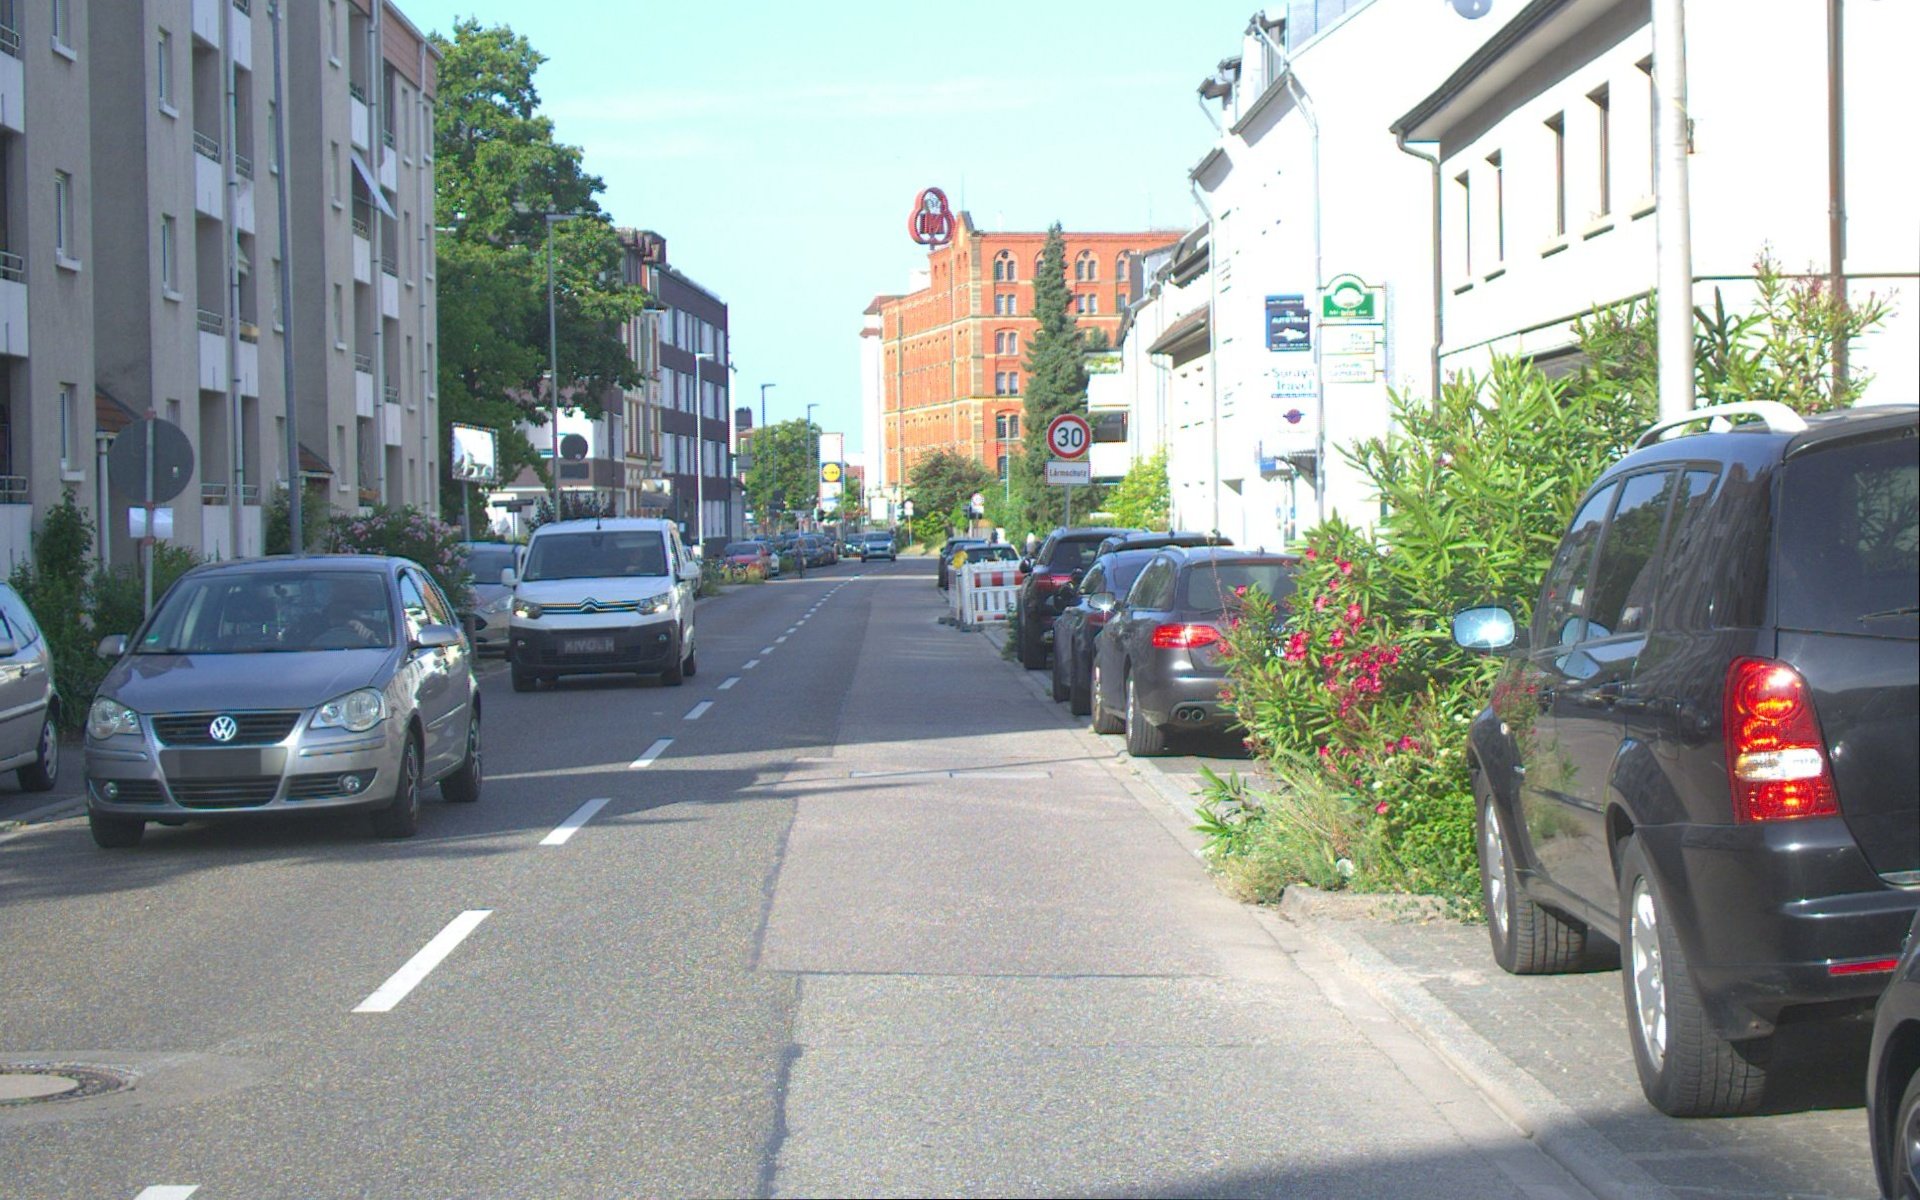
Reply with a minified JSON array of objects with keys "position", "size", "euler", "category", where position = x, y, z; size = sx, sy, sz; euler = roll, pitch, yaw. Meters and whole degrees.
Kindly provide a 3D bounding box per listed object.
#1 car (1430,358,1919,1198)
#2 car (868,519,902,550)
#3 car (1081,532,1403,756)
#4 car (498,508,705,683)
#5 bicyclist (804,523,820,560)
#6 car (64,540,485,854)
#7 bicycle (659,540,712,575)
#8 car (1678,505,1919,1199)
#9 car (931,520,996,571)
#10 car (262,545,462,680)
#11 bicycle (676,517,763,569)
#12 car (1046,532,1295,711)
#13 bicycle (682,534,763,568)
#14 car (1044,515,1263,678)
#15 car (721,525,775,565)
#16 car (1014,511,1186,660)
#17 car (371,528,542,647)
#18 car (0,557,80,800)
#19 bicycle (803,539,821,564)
[{"position":[2.694,0.290,9.909],"size":[2.075,1.849,4.610],"euler":[-2,2,1],"category":"car"},{"position":[-4.069,-3.585,186.705],"size":[1.763,1.610,4.000],"euler":[-1,1,-1],"category":"car"},{"position":[1.928,0.241,24.741],"size":[1.779,1.415,4.497],"euler":[-1,1,-2],"category":"car"},{"position":[-3.833,-0.100,37.397],"size":[1.922,1.761,4.339],"euler":[-1,1,-2],"category":"car"},{"position":[-5.776,-2.299,134.211],"size":[0.591,1.437,0.751],"euler":[-1,1,0],"category":"bicyclist"},{"position":[-3.570,0.435,18.478],"size":[1.617,1.450,3.686],"euler":[-1,2,-2],"category":"car"},{"position":[-8.394,-1.302,105.083],"size":[1.584,1.037,0.708],"euler":[-1,1,-6],"category":"bicycle"},{"position":[2.398,0.588,4.972],"size":[1.589,1.523,4.614],"euler":[-2,1,-1],"category":"car"},{"position":[0.095,-1.679,104.932],"size":[1.859,1.467,4.001],"euler":[1,1,-1],"category":"car"},{"position":[-6.704,0.102,38.902],"size":[1.686,1.401,4.084],"euler":[0,1,-2],"category":"car"},{"position":[-8.420,-2.003,120.320],"size":[2.918,1.771,1.202],"euler":[-1,1,0],"category":"bicycle"},{"position":[1.788,0.132,30.553],"size":[1.830,1.415,4.609],"euler":[-1,1,-1],"category":"car"},{"position":[-8.441,-1.742,122.097],"size":[2.773,1.140,1.143],"euler":[-1,1,0],"category":"bicycle"},{"position":[1.945,-0.082,35.747],"size":[1.829,1.554,4.318],"euler":[-1,1,-2],"category":"car"},{"position":[-7.986,-2.091,130.013],"size":[1.840,1.459,3.585],"euler":[-1,1,-1],"category":"car"},{"position":[1.615,-0.155,41.003],"size":[1.830,1.624,4.463],"euler":[2,0,0],"category":"car"},{"position":[-6.846,-0.203,47.047],"size":[1.727,1.550,3.965],"euler":[0,1,0],"category":"car"},{"position":[-6.424,0.462,20.347],"size":[1.640,1.390,3.672],"euler":[0,1,-3],"category":"car"},{"position":[-5.764,-1.907,134.181],"size":[0.608,0.939,1.811],"euler":[-1,1,0],"category":"bicycle"}]
